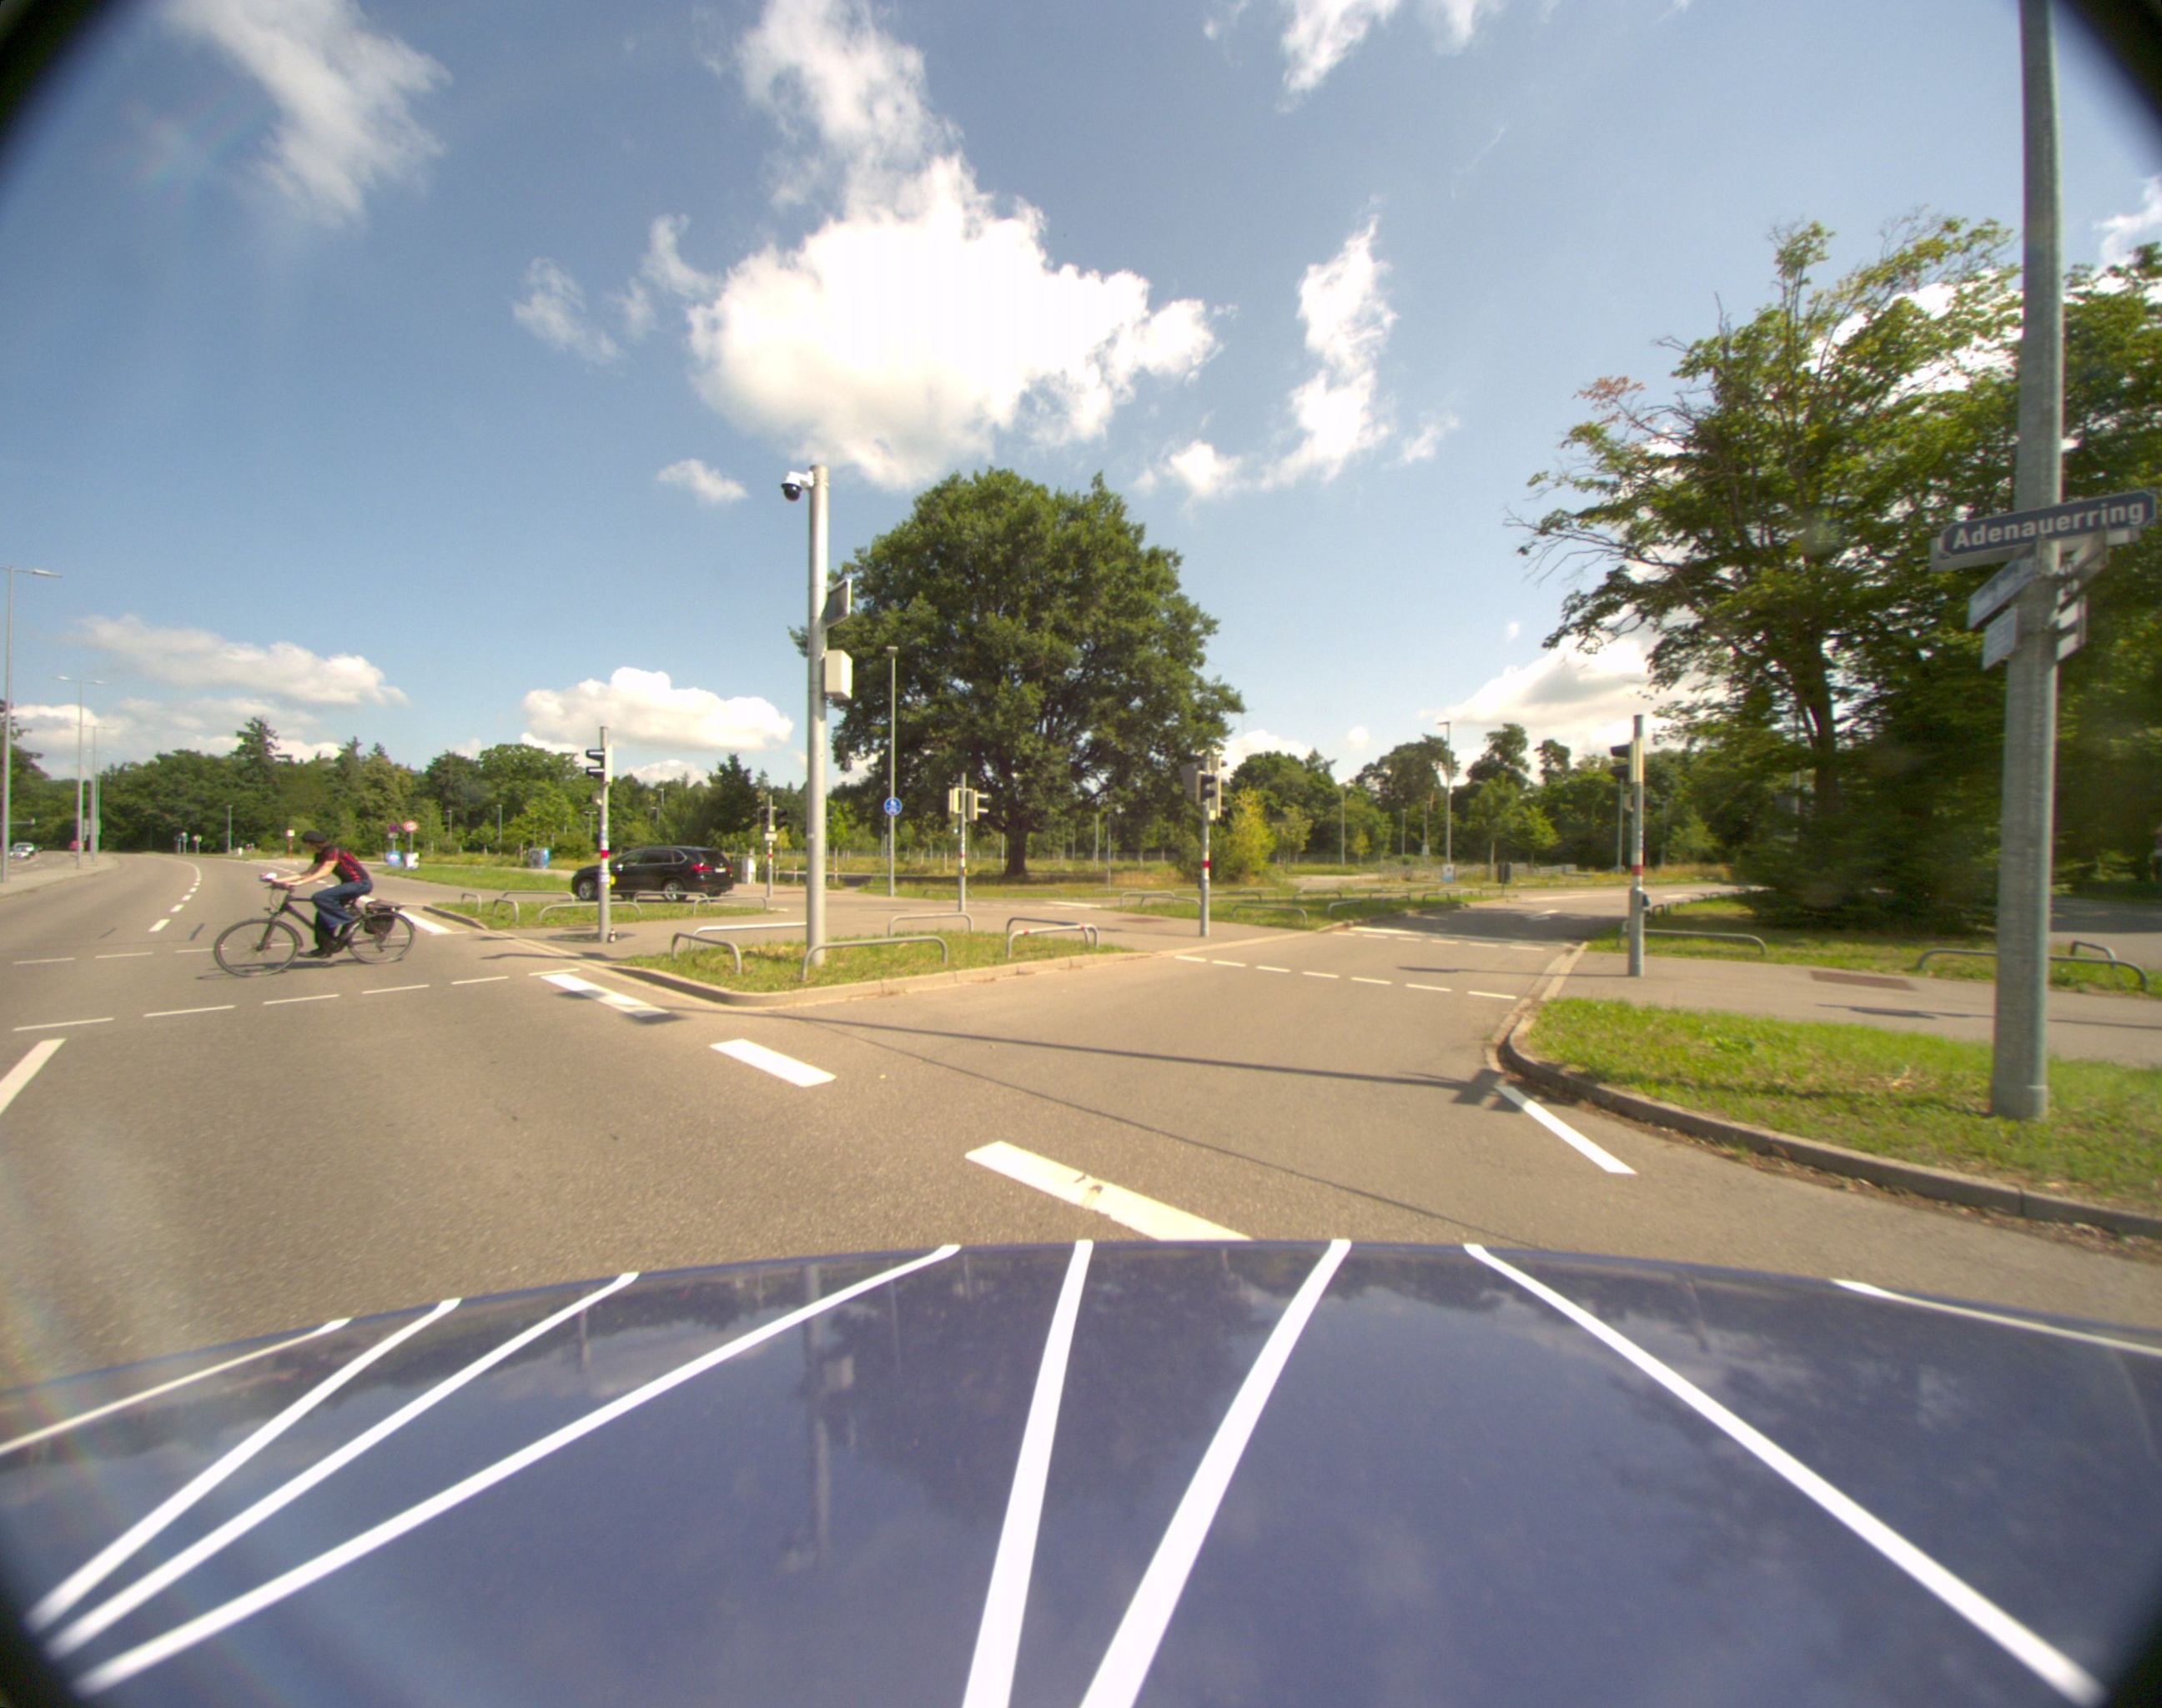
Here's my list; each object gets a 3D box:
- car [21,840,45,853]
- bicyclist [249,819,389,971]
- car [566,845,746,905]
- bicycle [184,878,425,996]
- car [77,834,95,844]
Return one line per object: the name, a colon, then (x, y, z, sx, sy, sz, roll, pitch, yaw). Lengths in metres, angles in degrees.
car: (-127.512, -0.890, 92.494, 3.559, 1.471, 1.584, 2, 2, 38)
bicyclist: (-9.533, 0.462, 9.529, 0.885, 1.787, 0.980, 1, 2, 27)
car: (-13.197, 0.620, 23.700, 4.699, 1.755, 1.983, 0, 1, 11)
bicycle: (-9.577, 0.952, 9.470, 0.881, 1.199, 1.901, 1, 2, 27)
car: (-157.496, -2.376, 120.277, 3.559, 1.471, 1.584, 2, 2, 40)
